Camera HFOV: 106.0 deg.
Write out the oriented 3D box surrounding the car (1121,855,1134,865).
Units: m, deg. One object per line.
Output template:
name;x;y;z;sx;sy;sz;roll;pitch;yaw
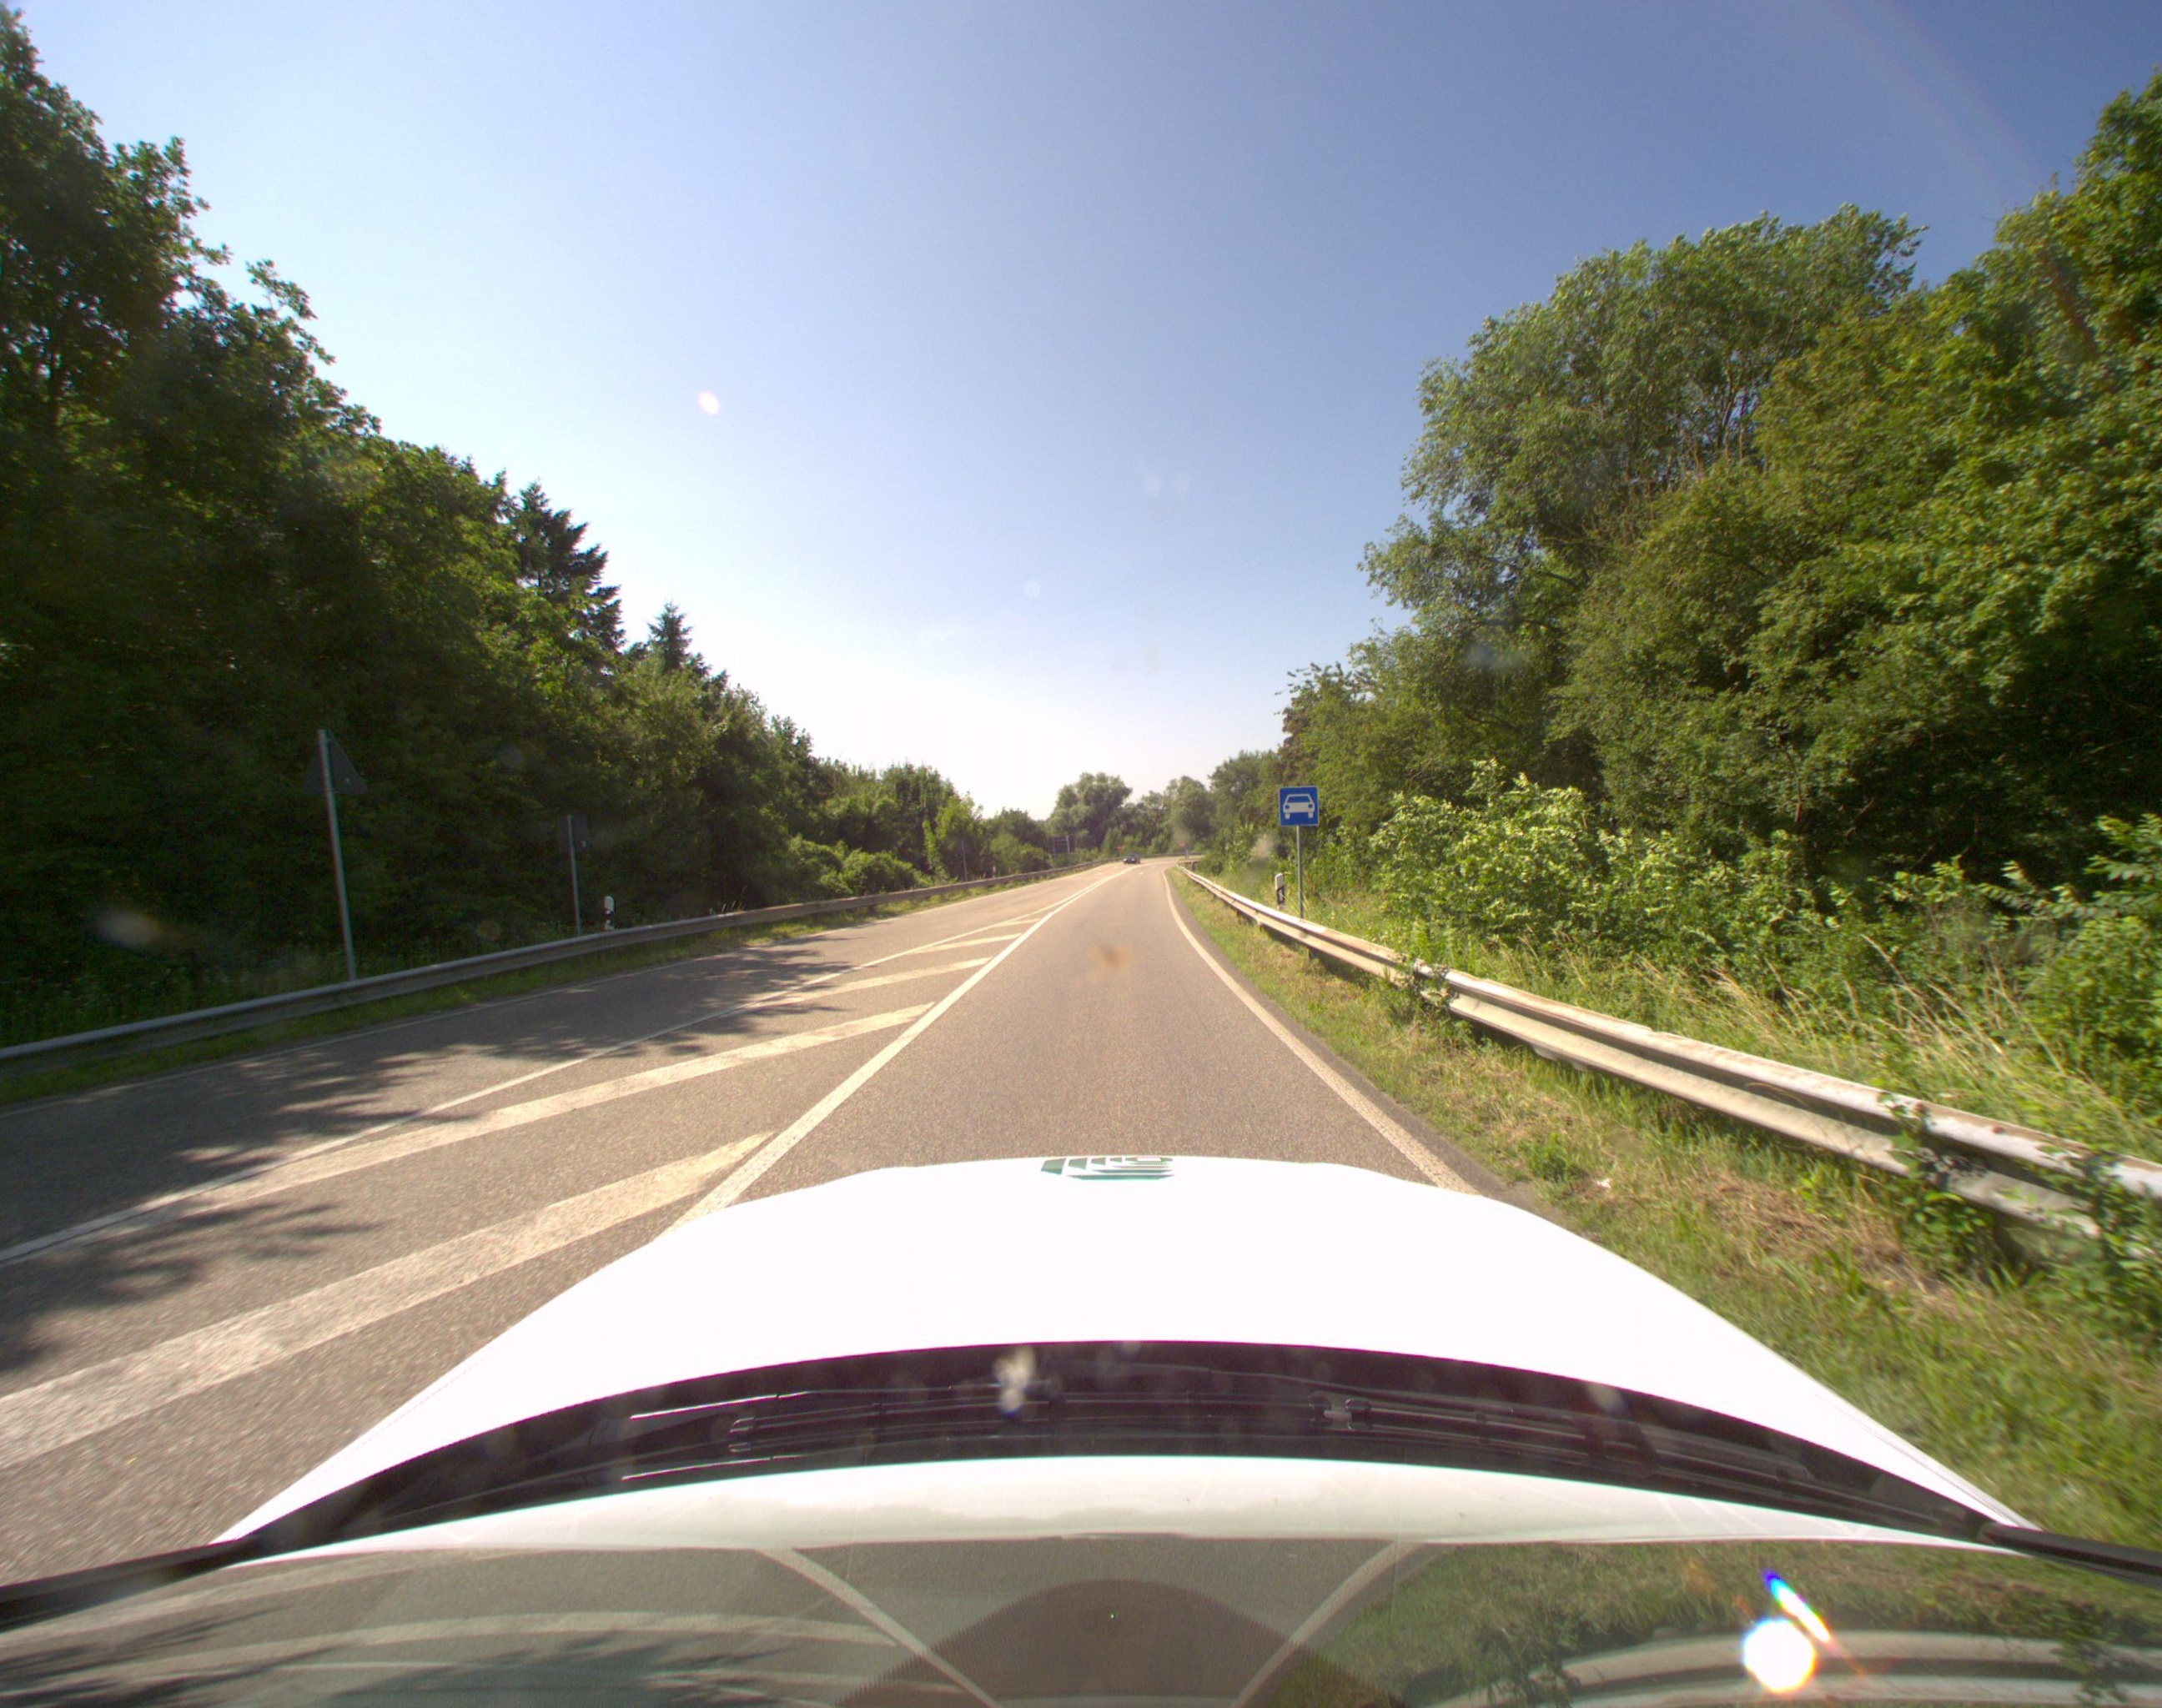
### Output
car;6.615;0.858;115.928;1.599;1.473;4.227;-2;-1;6
